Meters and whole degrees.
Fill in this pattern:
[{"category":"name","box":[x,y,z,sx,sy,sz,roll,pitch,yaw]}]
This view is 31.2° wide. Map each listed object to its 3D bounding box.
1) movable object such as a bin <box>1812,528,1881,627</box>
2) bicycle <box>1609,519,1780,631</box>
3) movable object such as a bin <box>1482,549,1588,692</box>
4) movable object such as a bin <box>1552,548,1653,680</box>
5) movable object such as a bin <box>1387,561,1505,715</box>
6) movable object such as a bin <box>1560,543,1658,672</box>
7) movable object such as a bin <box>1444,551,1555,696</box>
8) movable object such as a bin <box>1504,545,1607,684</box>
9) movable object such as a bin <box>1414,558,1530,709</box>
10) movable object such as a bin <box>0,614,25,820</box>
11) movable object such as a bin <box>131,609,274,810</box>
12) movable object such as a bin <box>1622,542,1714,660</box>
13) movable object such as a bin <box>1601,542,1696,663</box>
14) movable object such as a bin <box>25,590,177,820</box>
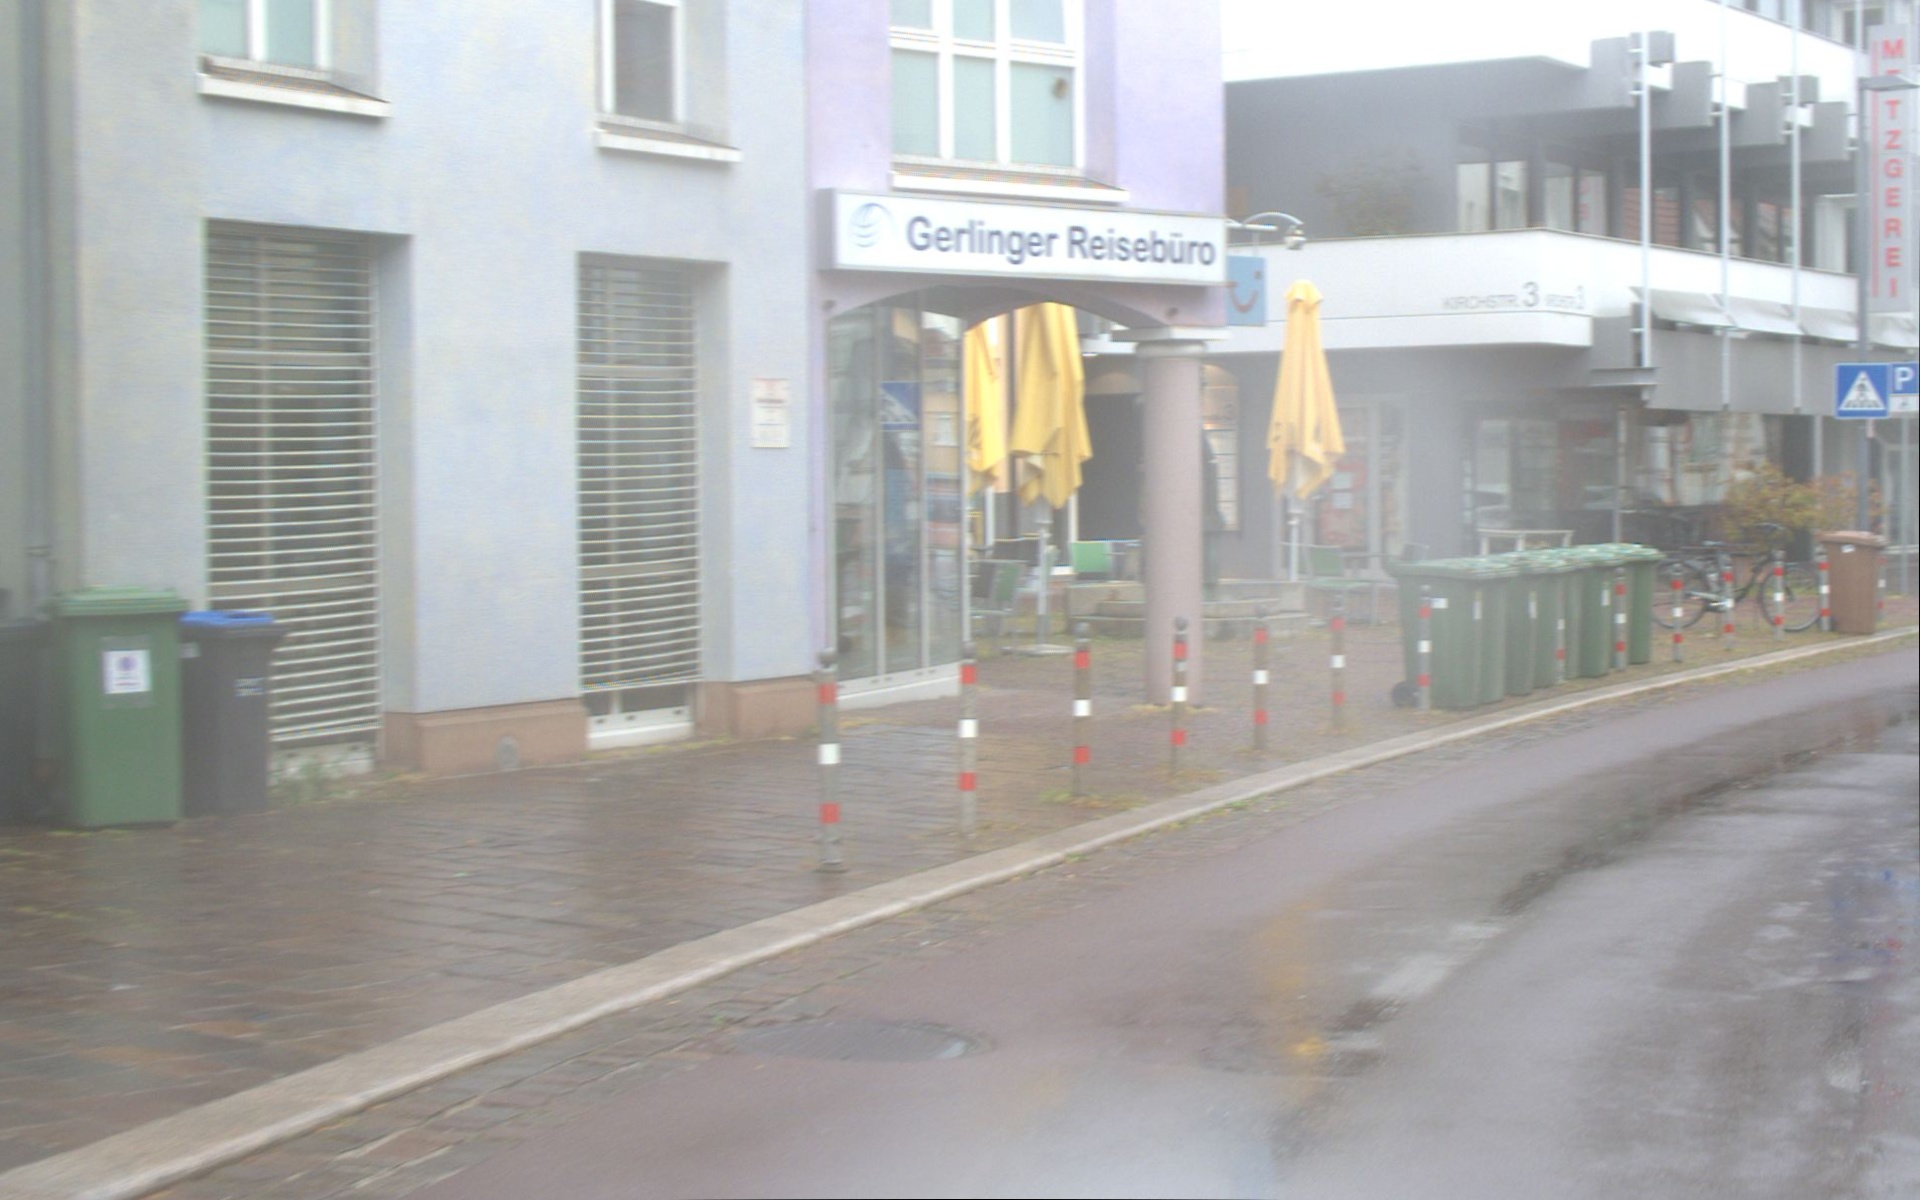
[{"category":"movable object such as a bin","box":[9.324,-0.239,36.154,0.687,1.016,0.631,1,2,15]},{"category":"bicycle","box":[7.774,-0.268,36.394,1.747,1.160,0.444,1,0,13]},{"category":"movable object such as a bin","box":[4.596,0.155,27.456,0.687,1.101,0.668,1,2,23]},{"category":"movable object such as a bin","box":[5.364,0.108,28.680,0.687,1.070,0.668,1,2,23]},{"category":"movable object such as a bin","box":[3.523,0.265,24.904,0.687,1.074,0.676,1,2,23]},{"category":"movable object such as a bin","box":[5.569,0.053,29.473,0.687,1.073,0.668,1,2,23]},{"category":"movable object such as a bin","box":[4.152,0.174,26.444,0.687,1.077,0.668,1,2,23]},{"category":"movable object such as a bin","box":[4.876,0.111,28.122,0.687,1.101,0.668,1,2,23]},{"category":"movable object such as a bin","box":[3.816,0.239,25.593,0.687,1.083,0.711,1,2,23]},{"category":"movable object such as a bin","box":[-4.464,0.517,15.327,0.437,0.912,0.386,1,1,42]},{"category":"movable object such as a bin","box":[-3.470,0.494,15.754,0.460,0.892,0.449,1,0,21]},{"category":"movable object such as a bin","box":[6.400,0.001,31.072,0.687,1.036,0.668,1,2,23]},{"category":"movable object such as a bin","box":[6.090,0.015,30.406,0.687,1.038,0.668,1,2,23]},{"category":"movable object such as a bin","box":[-3.790,0.455,15.160,0.571,0.985,0.488,1,0,-23]}]
